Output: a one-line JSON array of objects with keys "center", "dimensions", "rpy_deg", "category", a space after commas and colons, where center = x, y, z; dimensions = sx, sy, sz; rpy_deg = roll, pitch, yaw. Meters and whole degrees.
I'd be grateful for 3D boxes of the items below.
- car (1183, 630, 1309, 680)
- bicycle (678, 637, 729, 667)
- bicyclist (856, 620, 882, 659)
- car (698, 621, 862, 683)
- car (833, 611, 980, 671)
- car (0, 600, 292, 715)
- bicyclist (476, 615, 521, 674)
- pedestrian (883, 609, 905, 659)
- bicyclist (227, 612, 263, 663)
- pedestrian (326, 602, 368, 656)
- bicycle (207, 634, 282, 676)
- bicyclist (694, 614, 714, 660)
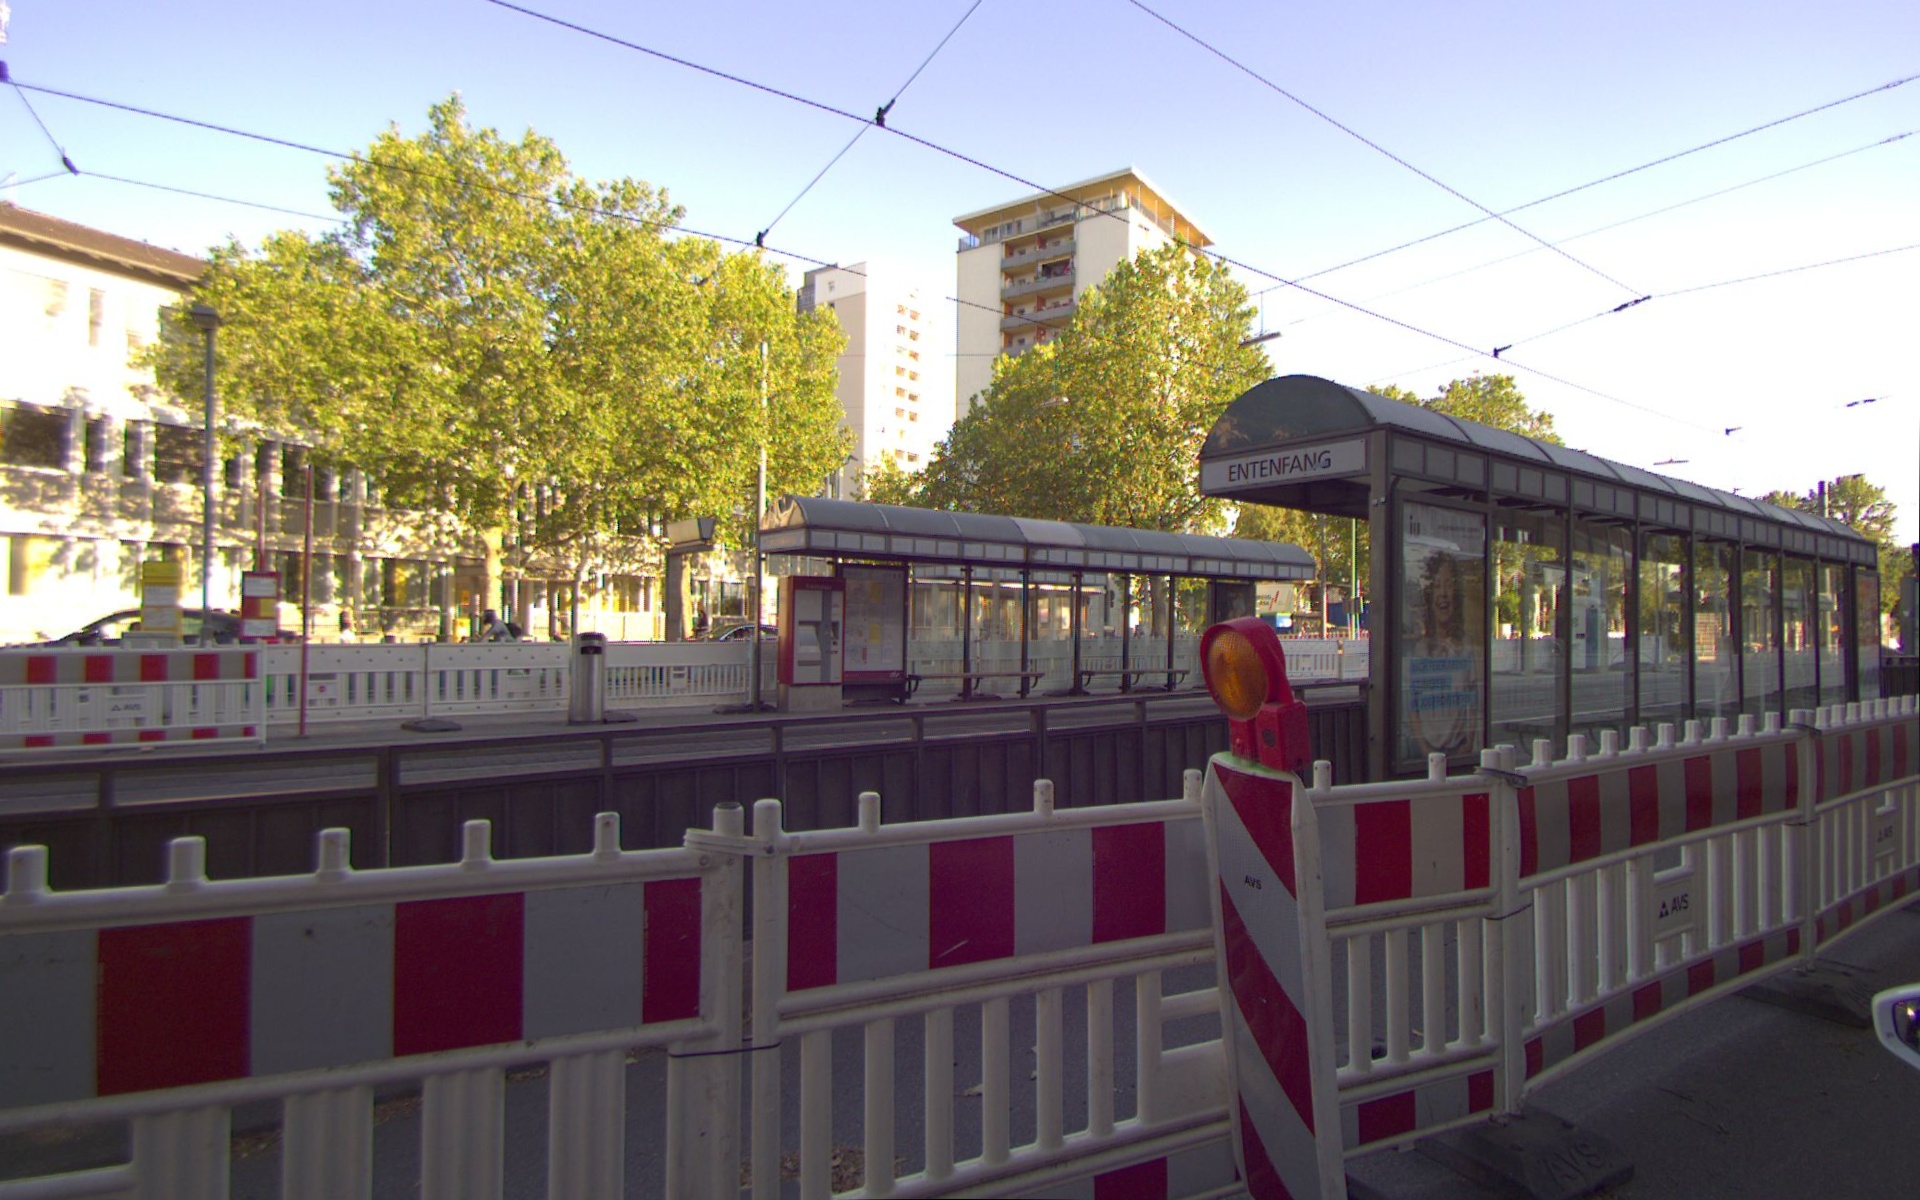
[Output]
[{"center": [10.508, 1.953, 36.744], "dimensions": [4.642, 1.676, 1.935], "rpy_deg": [1, -2, -35], "category": "car"}, {"center": [-7.939, 1.593, 31.094], "dimensions": [1.451, 0.907, 0.459], "rpy_deg": [1, -2, -35], "category": "bicycle"}, {"center": [-3.147, 1.365, 34.737], "dimensions": [0.802, 1.314, 0.458], "rpy_deg": [1, -1, -38], "category": "bicyclist"}, {"center": [-5.400, 1.534, 30.413], "dimensions": [4.544, 1.689, 1.881], "rpy_deg": [2, 0, -37], "category": "car"}, {"center": [-1.420, 1.089, 27.240], "dimensions": [3.739, 1.532, 1.646], "rpy_deg": [2, -2, -38], "category": "car"}, {"center": [-13.816, 0.898, 16.592], "dimensions": [4.544, 1.689, 1.881], "rpy_deg": [2, 0, -37], "category": "car"}, {"center": [-10.404, 0.991, 22.640], "dimensions": [0.798, 1.311, 0.555], "rpy_deg": [1, -1, -38], "category": "bicyclist"}, {"center": [-2.431, 1.242, 37.006], "dimensions": [0.605, 1.833, 0.564], "rpy_deg": [1, -1, -30], "category": "pedestrian"}, {"center": [-17.143, 0.893, 24.087], "dimensions": [0.657, 1.189, 0.407], "rpy_deg": [1, -1, -39], "category": "bicyclist"}, {"center": [-20.194, 0.948, 33.076], "dimensions": [0.793, 1.751, 0.884], "rpy_deg": [0, -1, 29], "category": "pedestrian"}, {"center": [-17.144, 1.316, 24.084], "dimensions": [1.449, 0.980, 0.407], "rpy_deg": [2, -2, -39], "category": "bicycle"}, {"center": [-7.932, 1.137, 31.102], "dimensions": [0.460, 1.414, 0.459], "rpy_deg": [1, -1, -35], "category": "bicyclist"}]
